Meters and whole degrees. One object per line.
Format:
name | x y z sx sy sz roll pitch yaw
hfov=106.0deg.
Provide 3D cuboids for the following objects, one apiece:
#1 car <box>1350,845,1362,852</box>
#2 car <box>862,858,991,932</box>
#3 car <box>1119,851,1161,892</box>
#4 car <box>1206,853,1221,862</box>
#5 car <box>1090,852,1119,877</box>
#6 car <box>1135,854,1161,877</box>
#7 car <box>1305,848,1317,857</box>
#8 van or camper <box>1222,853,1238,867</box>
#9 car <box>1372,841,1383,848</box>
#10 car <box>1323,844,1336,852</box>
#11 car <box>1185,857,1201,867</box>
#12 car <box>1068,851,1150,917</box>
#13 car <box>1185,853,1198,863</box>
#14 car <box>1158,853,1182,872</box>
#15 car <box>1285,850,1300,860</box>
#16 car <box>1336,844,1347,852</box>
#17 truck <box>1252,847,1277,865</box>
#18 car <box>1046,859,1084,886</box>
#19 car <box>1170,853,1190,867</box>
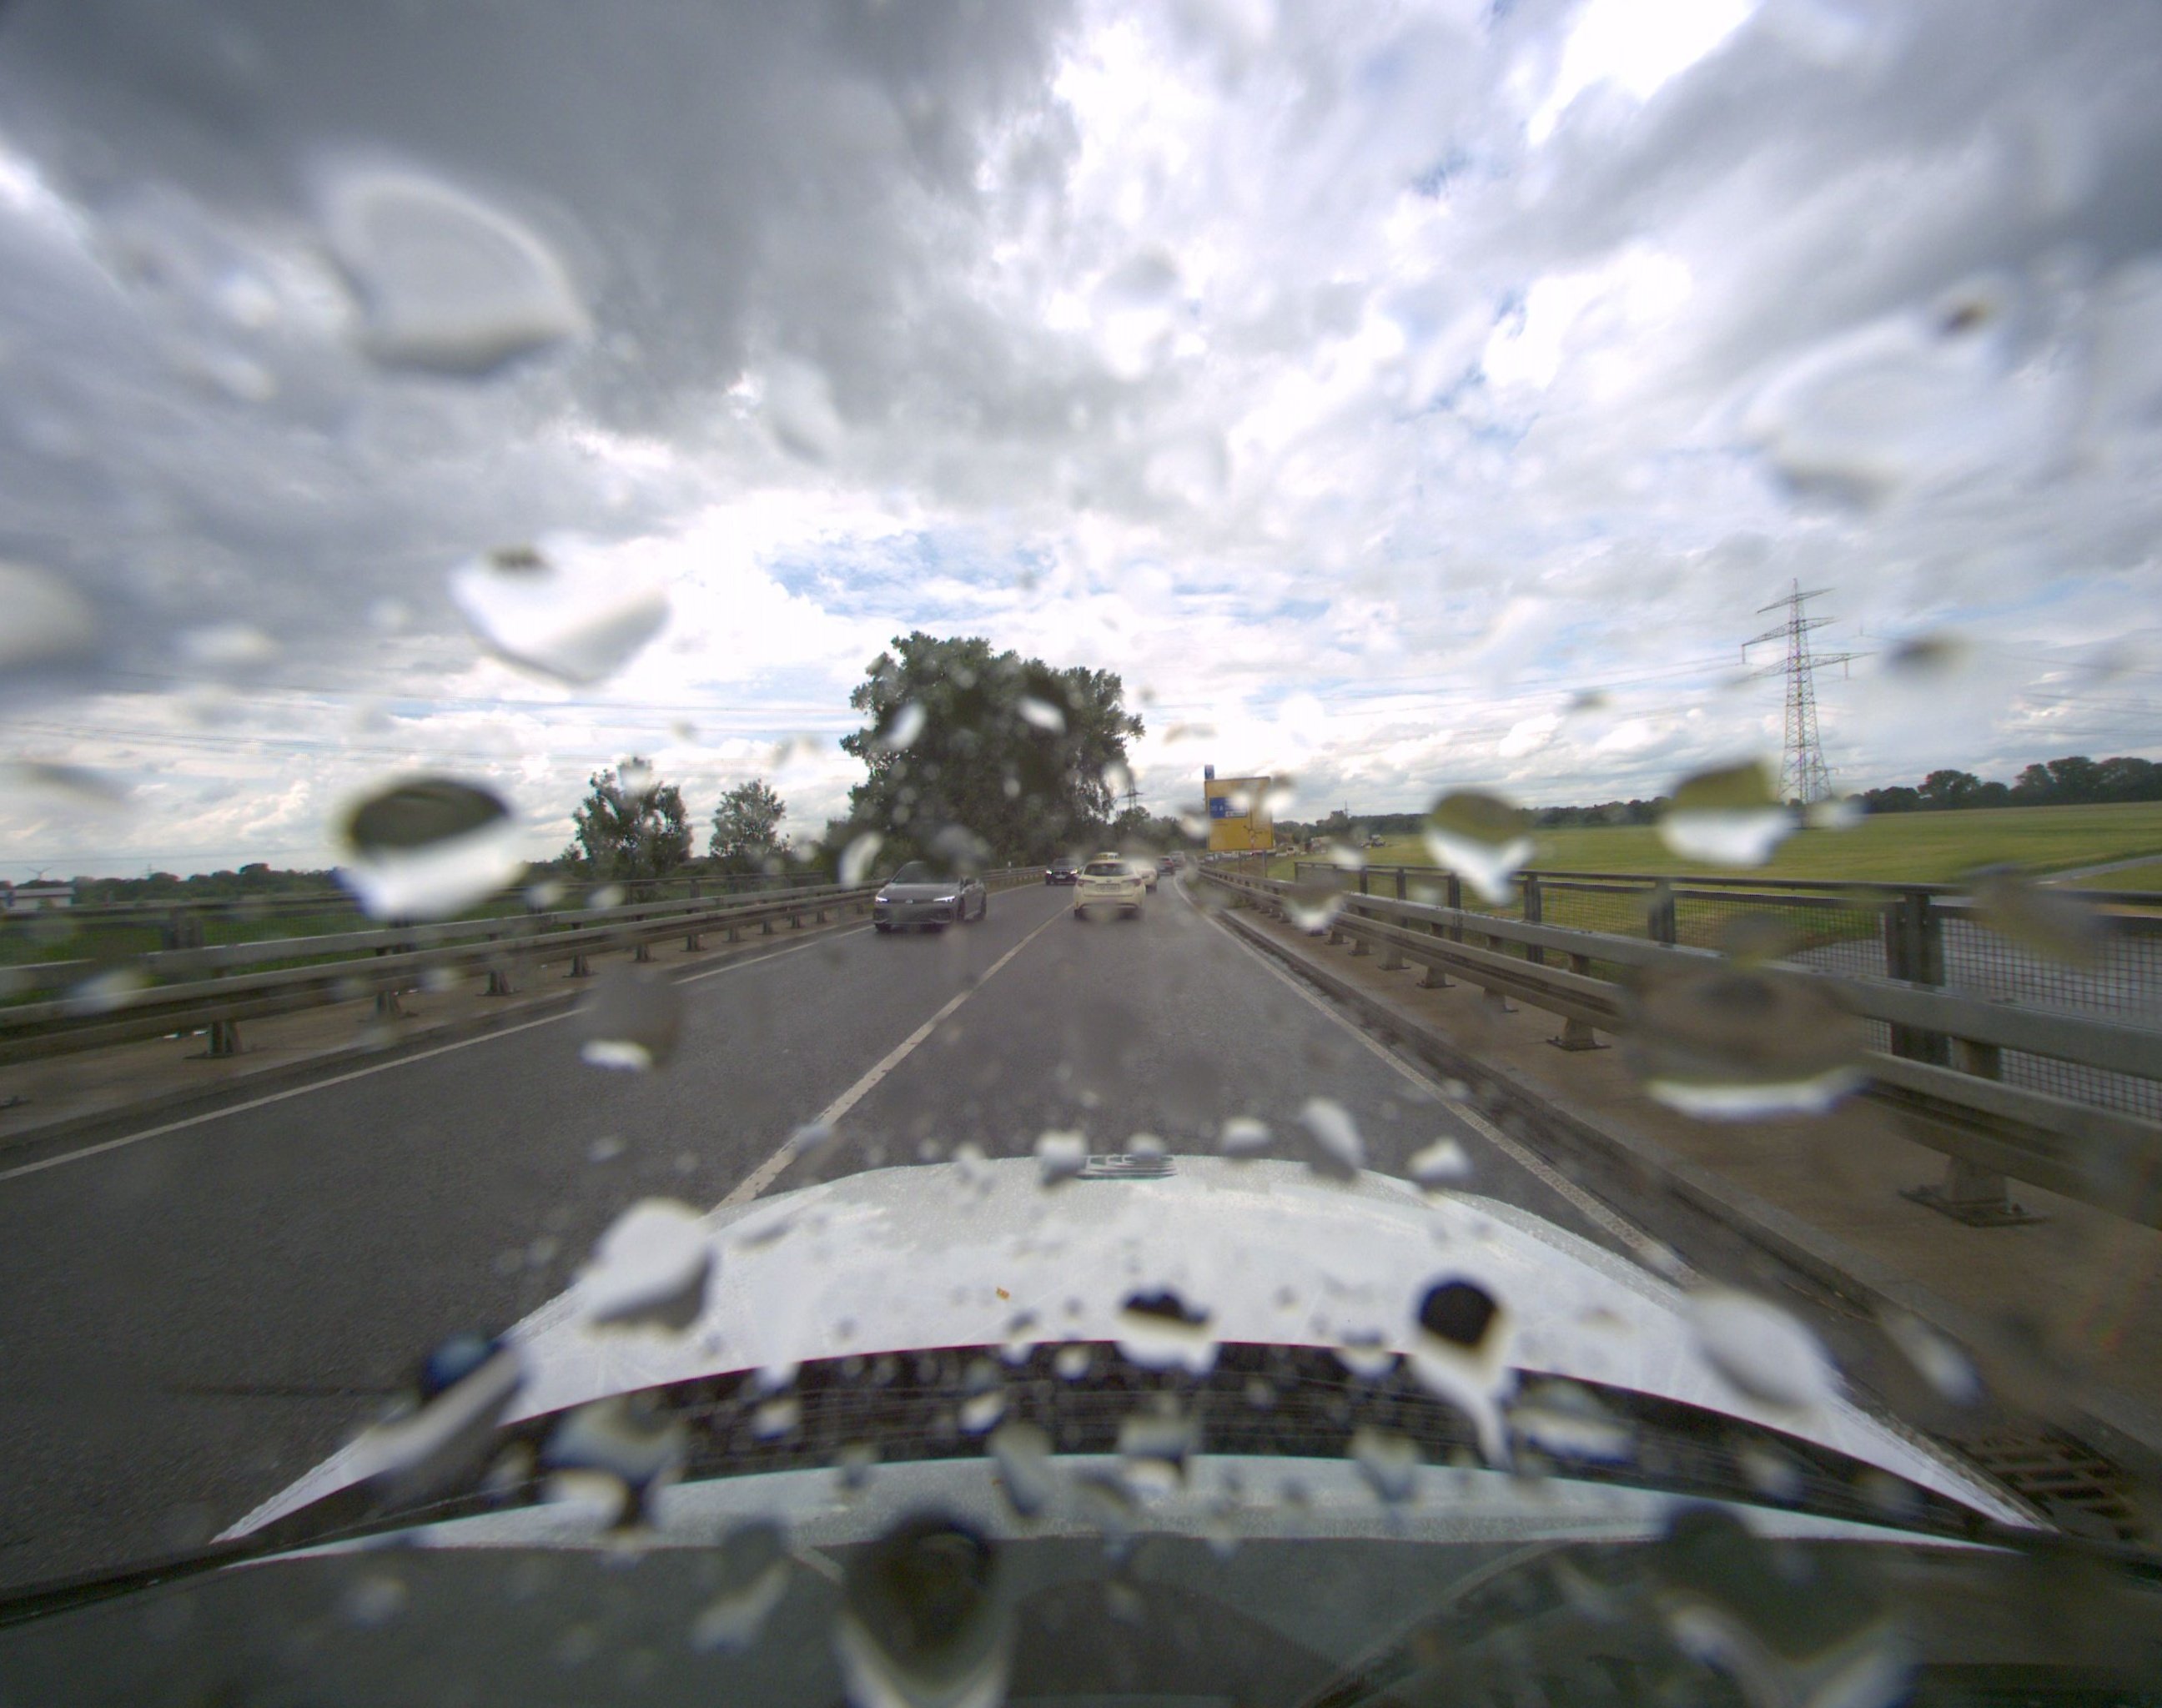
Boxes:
car | 75.793 -1.516 224.588 1.974 2.014 4.025 -1 -1 37
car | -3.265 0.820 18.056 1.827 1.443 4.107 0 0 4
car | 2.500 0.694 33.951 1.570 1.572 3.688 -1 0 6
car | 19.704 0.564 121.388 1.470 1.309 3.495 -1 0 21
car | 1.918 0.785 64.759 1.851 1.891 4.498 -1 0 7
car | 4.325 0.717 52.867 1.500 1.437 3.358 0 0 3
car | 55.242 -0.367 195.772 1.975 2.014 4.024 -1 -1 29
van or camper | 24.997 1.061 136.487 1.977 2.254 4.018 -1 -1 18
car | 88.390 -2.720 242.621 1.745 2.013 4.025 -1 1 41
car | 63.476 -1.535 207.983 2.205 2.014 4.024 -1 -1 28
car | 14.217 1.003 103.706 1.471 1.309 3.492 -1 0 17
car | 0.717 0.723 21.274 1.899 1.537 4.163 -1 0 1
car | 19.204 0.639 141.214 1.504 1.721 3.437 -1 -1 19
car | 7.154 0.654 65.446 1.655 1.464 3.487 -1 0 10
car | 47.744 0.228 183.802 2.146 2.014 4.024 -1 -1 29
car | 68.812 -1.502 215.074 1.975 2.014 4.024 -1 -1 28
truck | 36.967 0.433 163.579 3.111 3.562 7.566 -1 -1 27
car | -0.825 0.966 43.824 1.689 1.400 4.336 -1 -1 4
car | 10.756 0.668 88.676 1.648 1.409 3.919 -1 -1 14
